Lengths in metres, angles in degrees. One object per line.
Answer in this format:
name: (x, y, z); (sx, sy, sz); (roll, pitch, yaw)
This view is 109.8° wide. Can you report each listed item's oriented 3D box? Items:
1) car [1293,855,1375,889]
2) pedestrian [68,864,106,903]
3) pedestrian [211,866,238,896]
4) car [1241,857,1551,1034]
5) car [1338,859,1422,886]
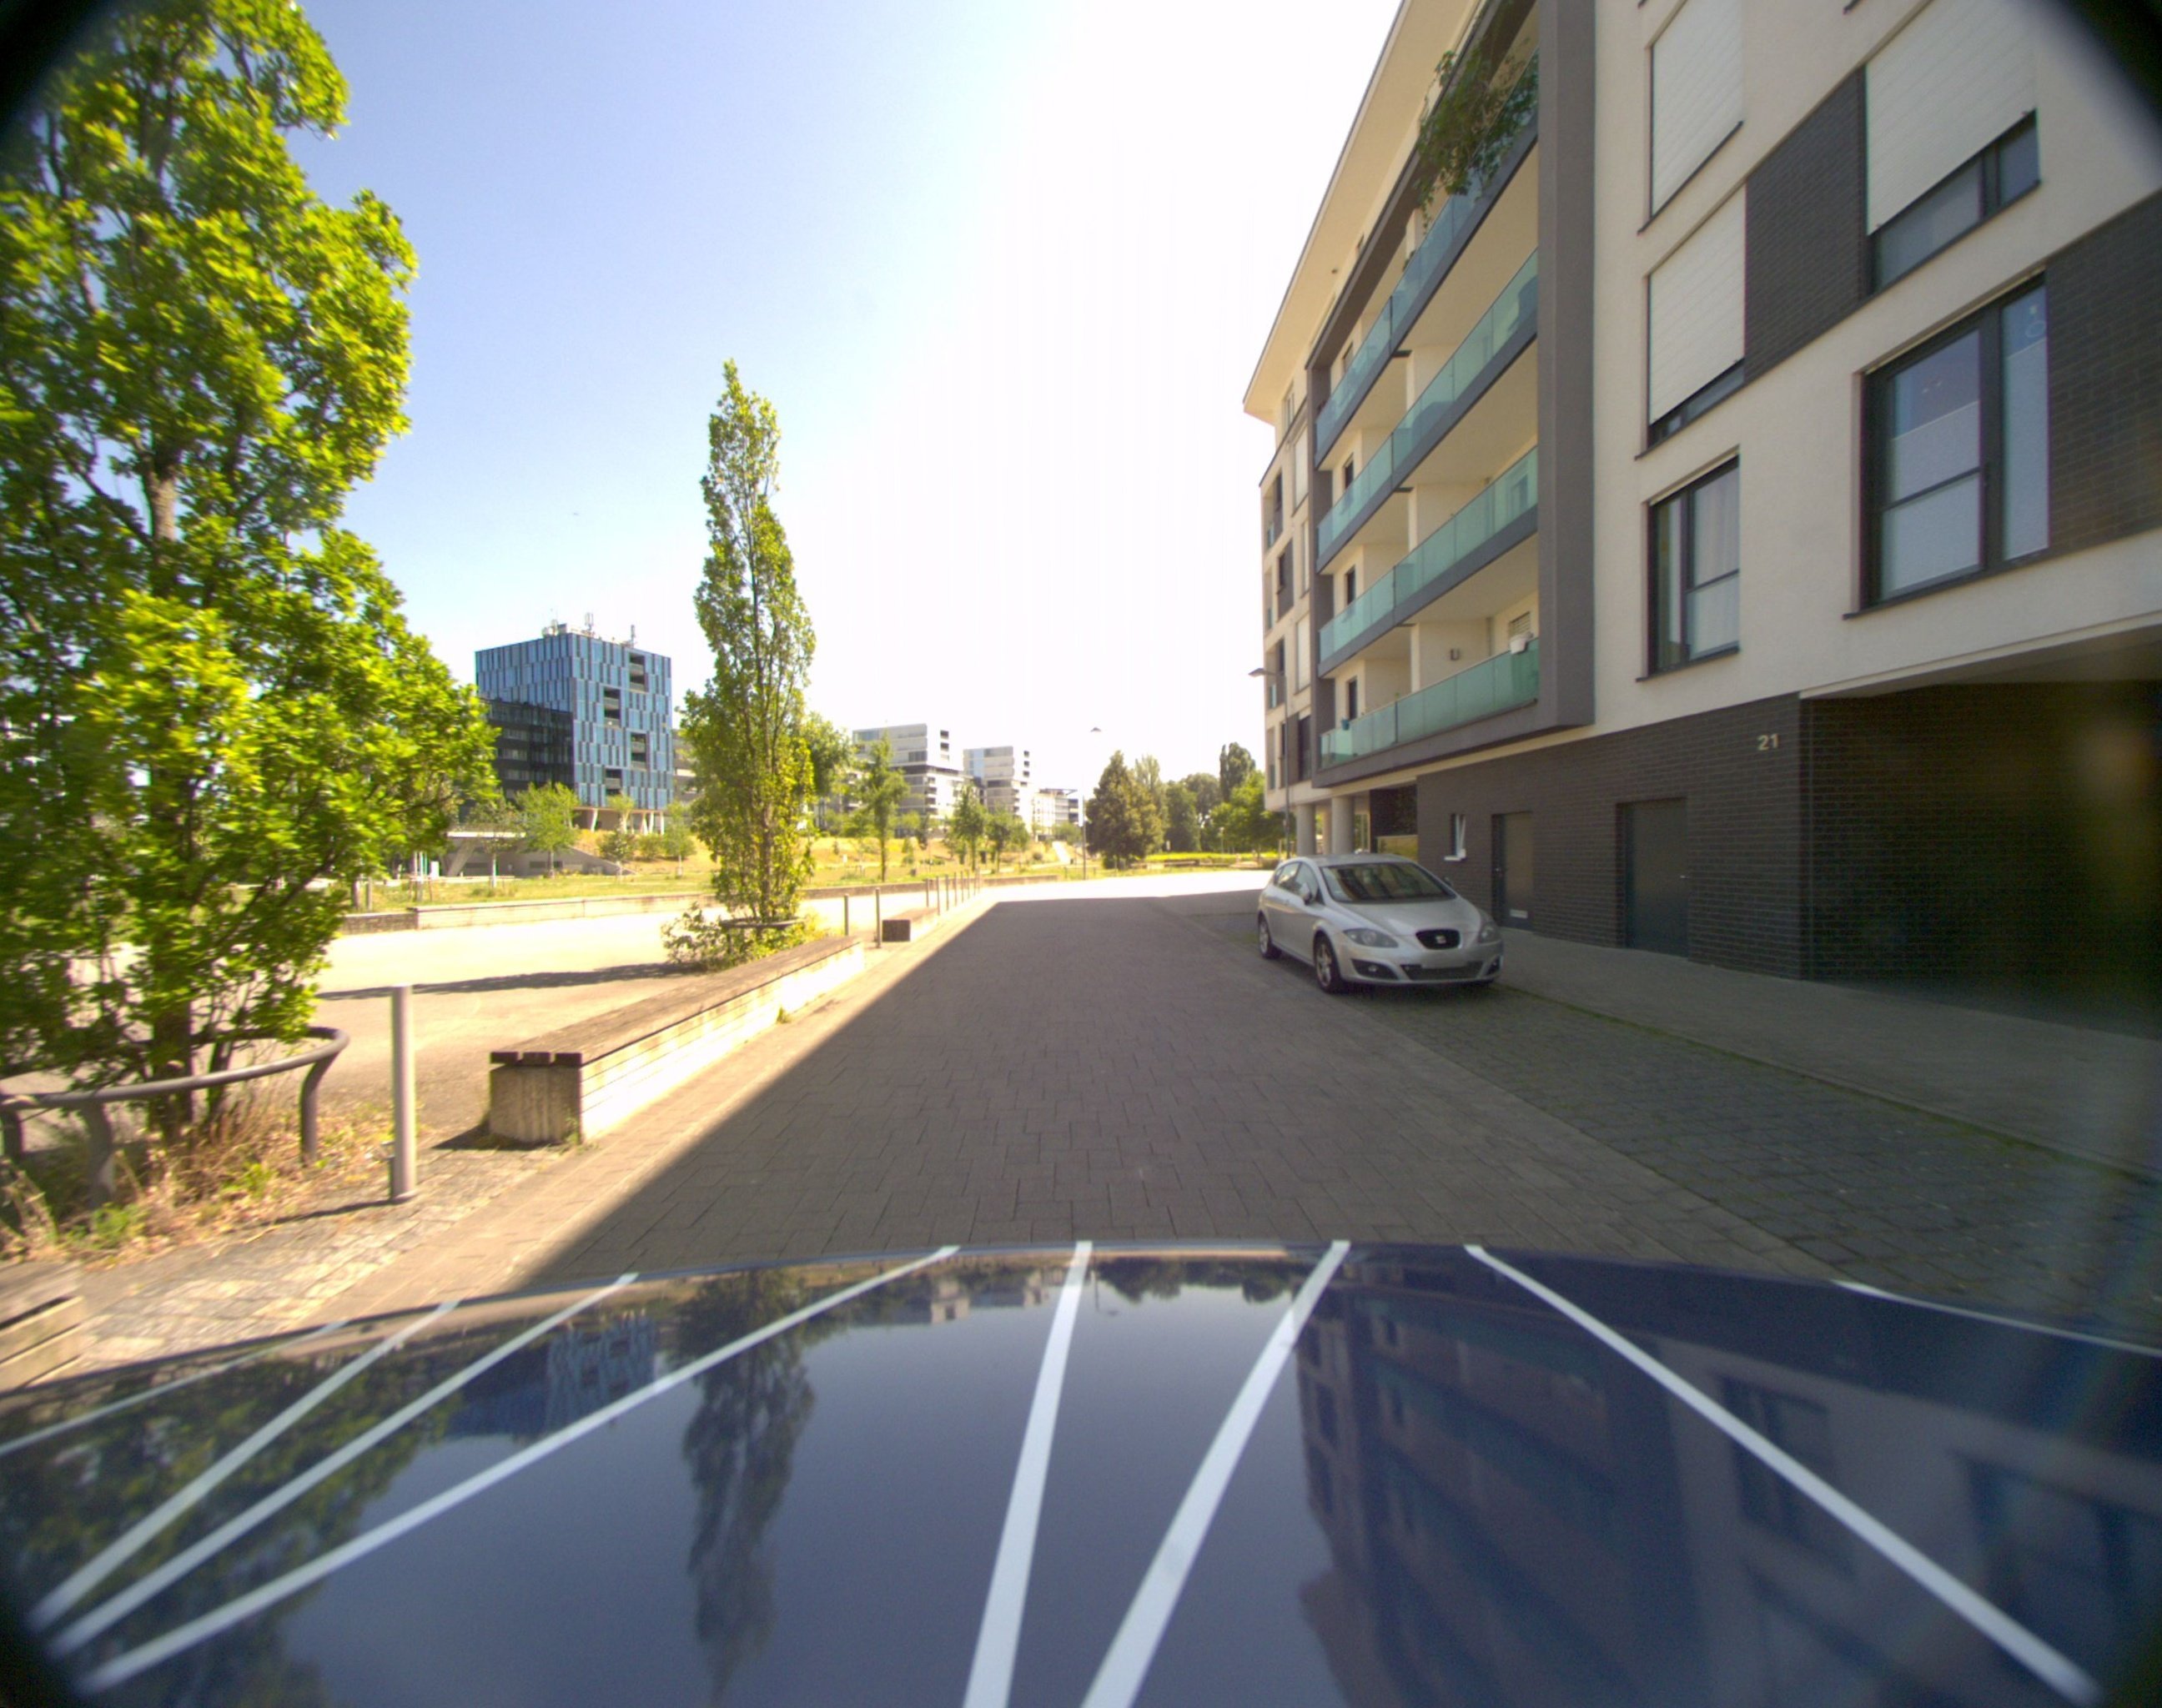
car: (14.207, 0.957, 42.739); (4.004, 1.772, 1.996); (-1, 1, -21)
pedestrian: (-45.286, 1.335, 34.616); (0.816, 1.717, 0.614); (-1, 1, -23)
pedestrian: (-50.139, 1.580, 44.498); (0.816, 1.717, 0.614); (-1, 1, -23)
car: (3.330, 0.844, 9.019); (1.787, 1.496, 4.113); (-3, 0, -2)
car: (15.867, 0.968, 40.342); (4.004, 1.263, 1.776); (-1, 1, -21)
